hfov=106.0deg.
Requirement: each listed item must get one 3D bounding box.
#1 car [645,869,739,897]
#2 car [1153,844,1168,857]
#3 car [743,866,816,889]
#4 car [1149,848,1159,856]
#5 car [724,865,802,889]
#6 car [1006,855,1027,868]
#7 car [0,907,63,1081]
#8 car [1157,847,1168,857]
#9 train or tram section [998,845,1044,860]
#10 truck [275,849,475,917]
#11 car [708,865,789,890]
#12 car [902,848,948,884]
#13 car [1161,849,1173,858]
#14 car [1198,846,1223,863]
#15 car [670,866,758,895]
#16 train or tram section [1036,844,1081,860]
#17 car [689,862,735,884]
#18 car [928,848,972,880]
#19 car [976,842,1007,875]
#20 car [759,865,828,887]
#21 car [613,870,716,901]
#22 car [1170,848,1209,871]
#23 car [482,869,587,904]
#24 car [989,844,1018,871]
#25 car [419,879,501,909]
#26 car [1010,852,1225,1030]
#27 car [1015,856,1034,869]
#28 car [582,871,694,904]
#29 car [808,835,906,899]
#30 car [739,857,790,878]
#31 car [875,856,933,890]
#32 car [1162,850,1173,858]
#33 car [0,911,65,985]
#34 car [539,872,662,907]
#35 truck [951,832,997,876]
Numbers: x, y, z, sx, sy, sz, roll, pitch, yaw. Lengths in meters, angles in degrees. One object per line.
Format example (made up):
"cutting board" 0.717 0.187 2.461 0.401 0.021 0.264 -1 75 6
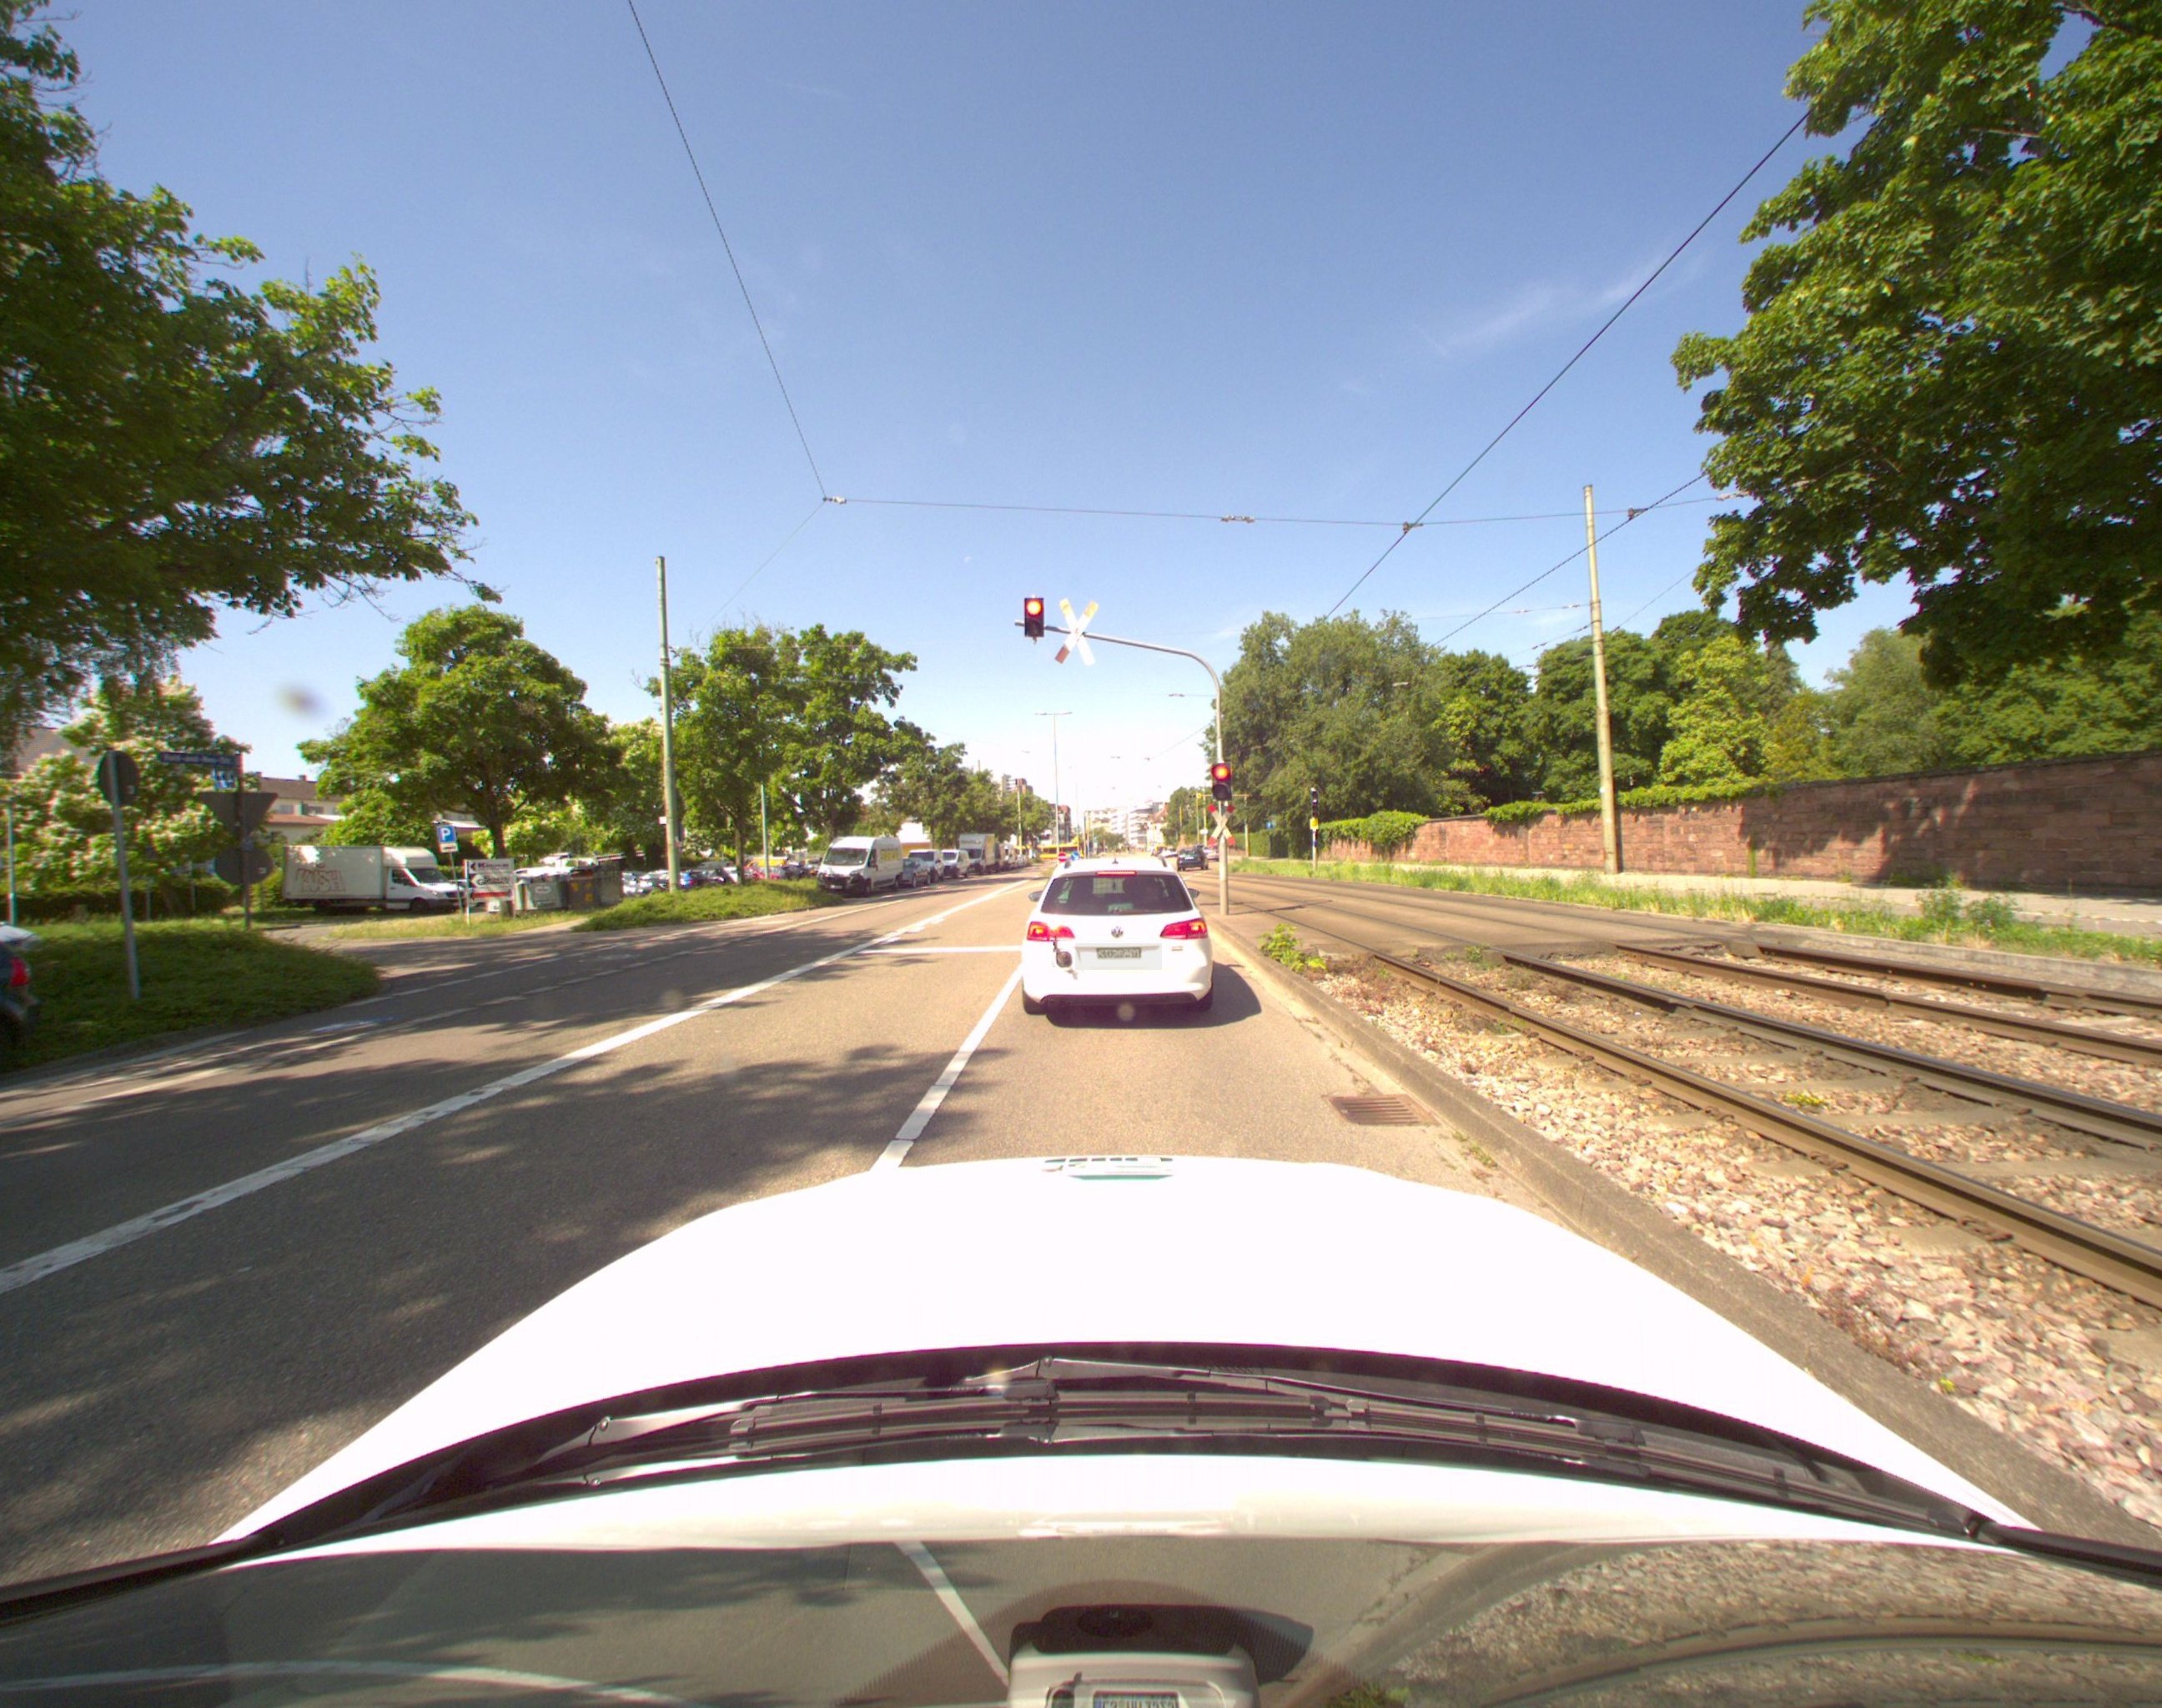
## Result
"car" -20.155 1.512 42.303 3.969 1.225 1.773 -2 0 4
"car" 15.117 -0.613 155.013 2.454 2.499 5.912 0 0 2
"car" -19.385 1.495 52.508 3.969 1.225 1.773 -2 0 4
"car" 15.039 -0.485 167.506 1.986 1.596 4.002 0 0 2
"car" -19.495 1.393 50.001 3.969 1.225 1.773 -2 0 4
"car" -7.409 0.862 94.014 1.837 1.433 4.039 -2 0 2
"car" -10.088 1.212 5.355 1.635 1.450 4.007 0 0 3
"car" 14.120 -0.358 141.686 1.685 1.812 3.455 0 0 2
"train or tram section" -13.435 -0.345 182.704 10.671 3.253 2.322 0 -1 27
"truck" -32.343 1.286 37.465 7.119 3.019 2.231 0 0 -1
"car" -19.347 1.355 47.472 3.969 1.264 1.773 -2 0 4
"car" -9.159 0.648 48.209 1.839 1.937 5.190 -2 0 -2
"car" 13.180 -0.083 124.381 1.576 1.346 3.455 0 0 2
"car" 11.562 0.032 72.945 1.852 1.416 4.330 0 0 5
"car" -20.172 1.439 44.818 3.969 1.350 1.773 -2 0 4
"train or tram section" -4.957 -0.401 177.104 11.129 3.253 2.323 0 -1 39
"car" -34.122 1.744 75.394 3.412 1.876 1.552 -2 0 0
"car" -8.733 0.644 54.824 1.836 1.960 5.137 -2 0 2
"car" -7.733 0.352 70.900 1.836 2.668 5.006 -2 0 2
"car" -19.341 1.472 54.870 3.969 1.225 1.773 -2 0 4
"car" -19.933 1.510 39.060 3.969 1.225 1.773 -2 0 4
"car" 6.656 0.313 49.731 1.732 1.388 3.930 0 0 17
"car" -31.963 1.881 47.707 4.683 2.014 1.998 0 -1 -4
"car" -7.459 0.325 78.977 1.836 2.494 5.860 -2 0 2
"car" -32.430 2.087 42.555 3.118 1.432 1.560 1 1 5
"car" 0.338 0.708 8.638 1.762 1.446 3.914 0 0 1
"car" -6.852 1.038 99.377 1.774 1.433 4.039 -2 0 2
"car" -19.741 1.474 36.422 3.974 1.225 1.771 -3 0 0
"car" -9.479 0.475 35.136 2.049 2.501 6.315 0 0 4
"car" -31.190 1.286 80.406 4.249 2.014 1.997 0 -1 -5
"car" -8.963 0.928 41.530 1.837 1.516 4.199 -2 0 2
"car" 14.129 -0.017 133.683 1.576 1.346 3.455 0 0 2
"car" -23.798 2.022 16.796 3.964 1.418 1.715 -2 0 8
"car" -19.846 1.449 33.744 3.974 1.225 1.771 -3 0 0
"truck" -8.212 -0.044 63.285 2.348 3.122 6.893 -2 0 1
